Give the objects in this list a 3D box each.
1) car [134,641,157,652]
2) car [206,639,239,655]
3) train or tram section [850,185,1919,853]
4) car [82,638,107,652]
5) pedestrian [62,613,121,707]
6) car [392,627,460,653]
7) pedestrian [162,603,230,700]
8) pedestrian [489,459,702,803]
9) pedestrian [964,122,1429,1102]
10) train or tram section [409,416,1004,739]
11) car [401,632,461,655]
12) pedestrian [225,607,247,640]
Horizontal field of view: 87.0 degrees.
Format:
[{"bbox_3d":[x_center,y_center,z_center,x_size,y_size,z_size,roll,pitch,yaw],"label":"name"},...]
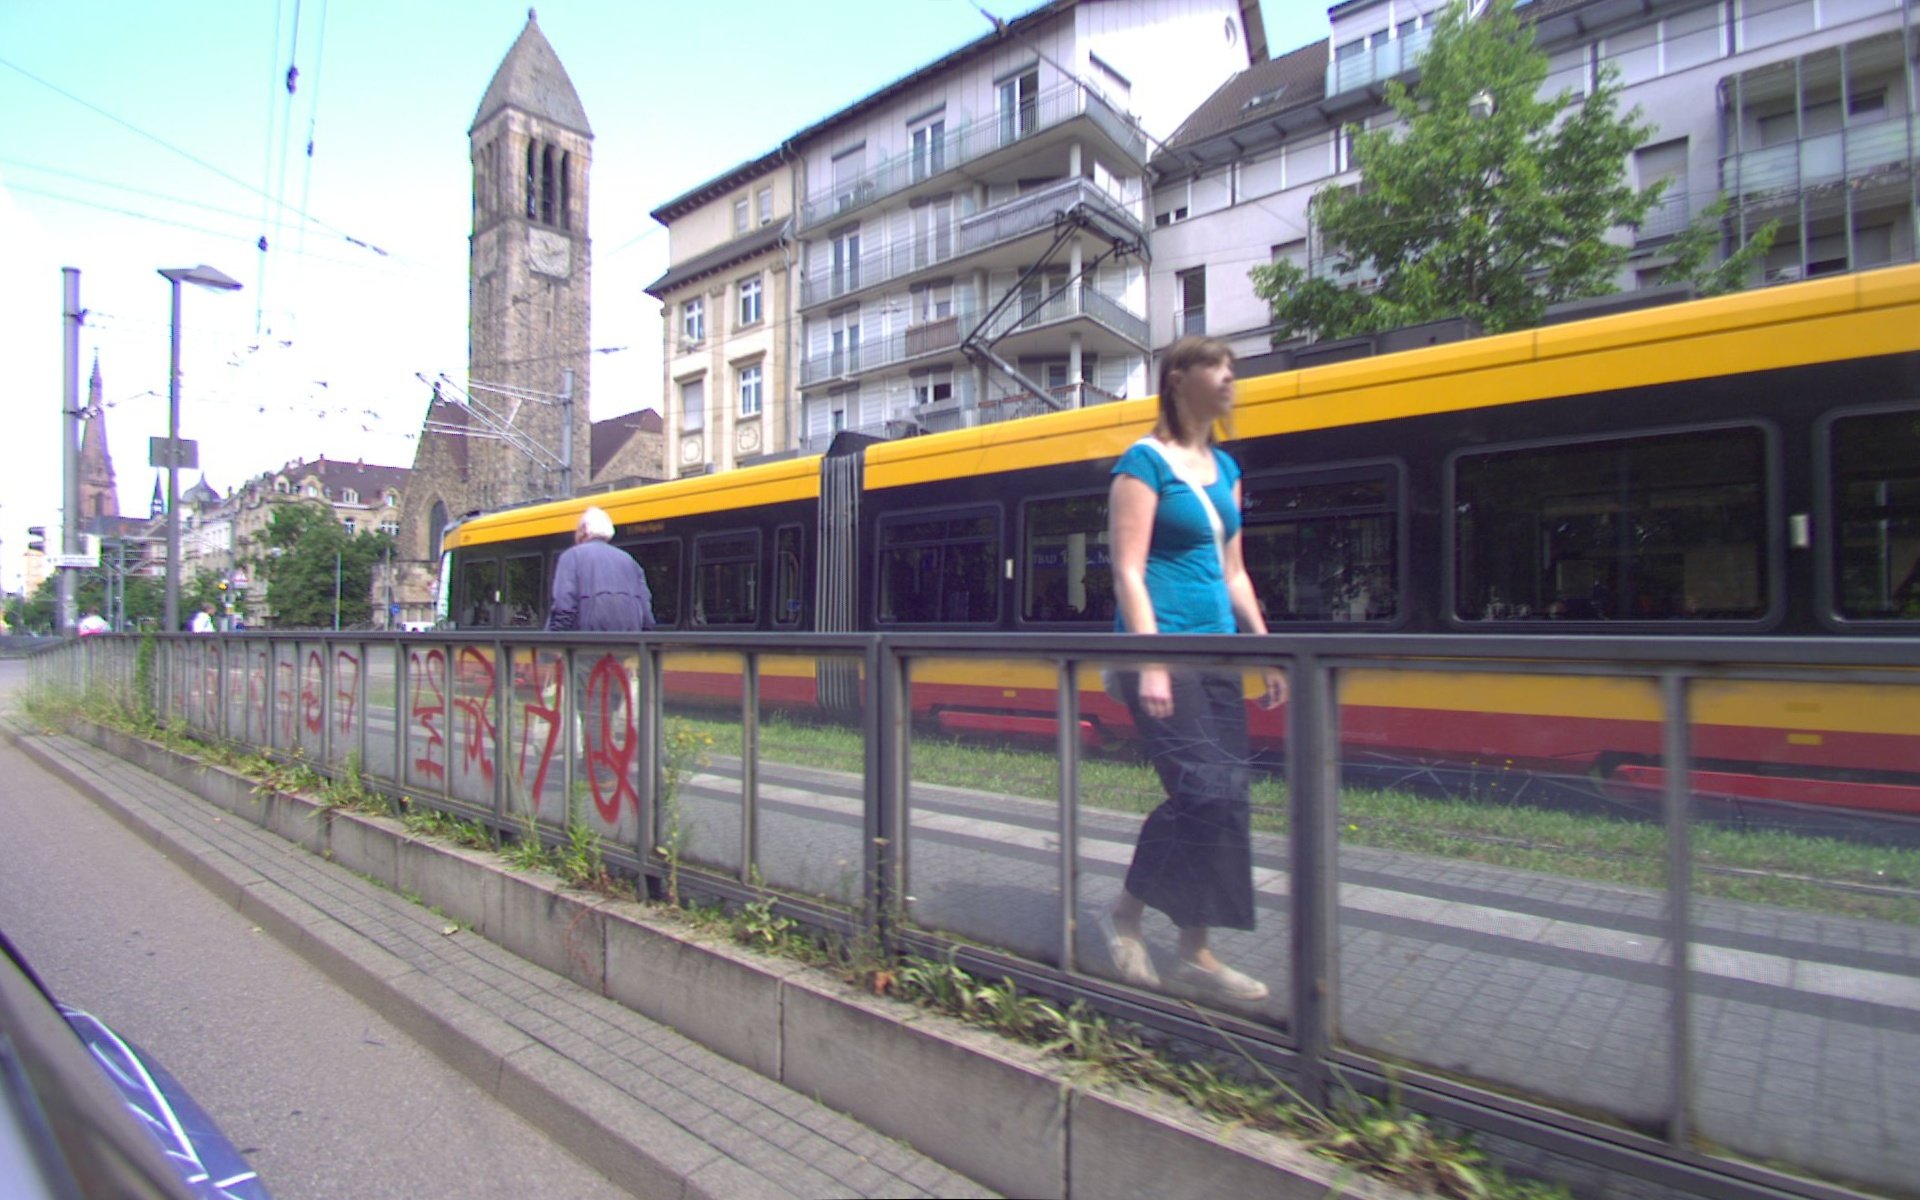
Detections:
[{"bbox_3d":[-96.306,5.537,119.671,3.063,1.243,1.632,-3,-2,43],"label":"car"},{"bbox_3d":[-69.289,4.409,95.096,3.837,1.507,1.764,-3,-2,43],"label":"car"},{"bbox_3d":[3.554,-0.347,8.818,10.401,3.611,2.766,-2,-2,42],"label":"train or tram section"},{"bbox_3d":[-100.077,5.184,116.977,4.131,1.517,1.794,-3,-2,43],"label":"car"},{"bbox_3d":[-15.842,1.085,18.469,0.615,1.678,0.678,0,-2,-23],"label":"pedestrian"},{"bbox_3d":[-41.722,3.159,79.085,1.999,1.868,4.245,-4,-5,41],"label":"car"},{"bbox_3d":[-14.575,0.969,19.315,1.045,1.794,0.839,-2,-2,42],"label":"pedestrian"},{"bbox_3d":[-2.112,0.173,5.874,0.876,1.788,0.848,-2,-2,42],"label":"pedestrian"},{"bbox_3d":[0.599,0.025,2.566,0.846,1.913,0.818,-2,-2,42],"label":"pedestrian"},{"bbox_3d":[-5.179,-0.092,16.725,13.012,3.611,2.777,-2,-2,42],"label":"train or tram section"},{"bbox_3d":[-39.743,3.293,76.089,1.817,1.691,3.589,-4,-5,39],"label":"car"},{"bbox_3d":[-39.157,1.281,54.739,0.743,1.744,0.761,-2,-3,42],"label":"pedestrian"}]
